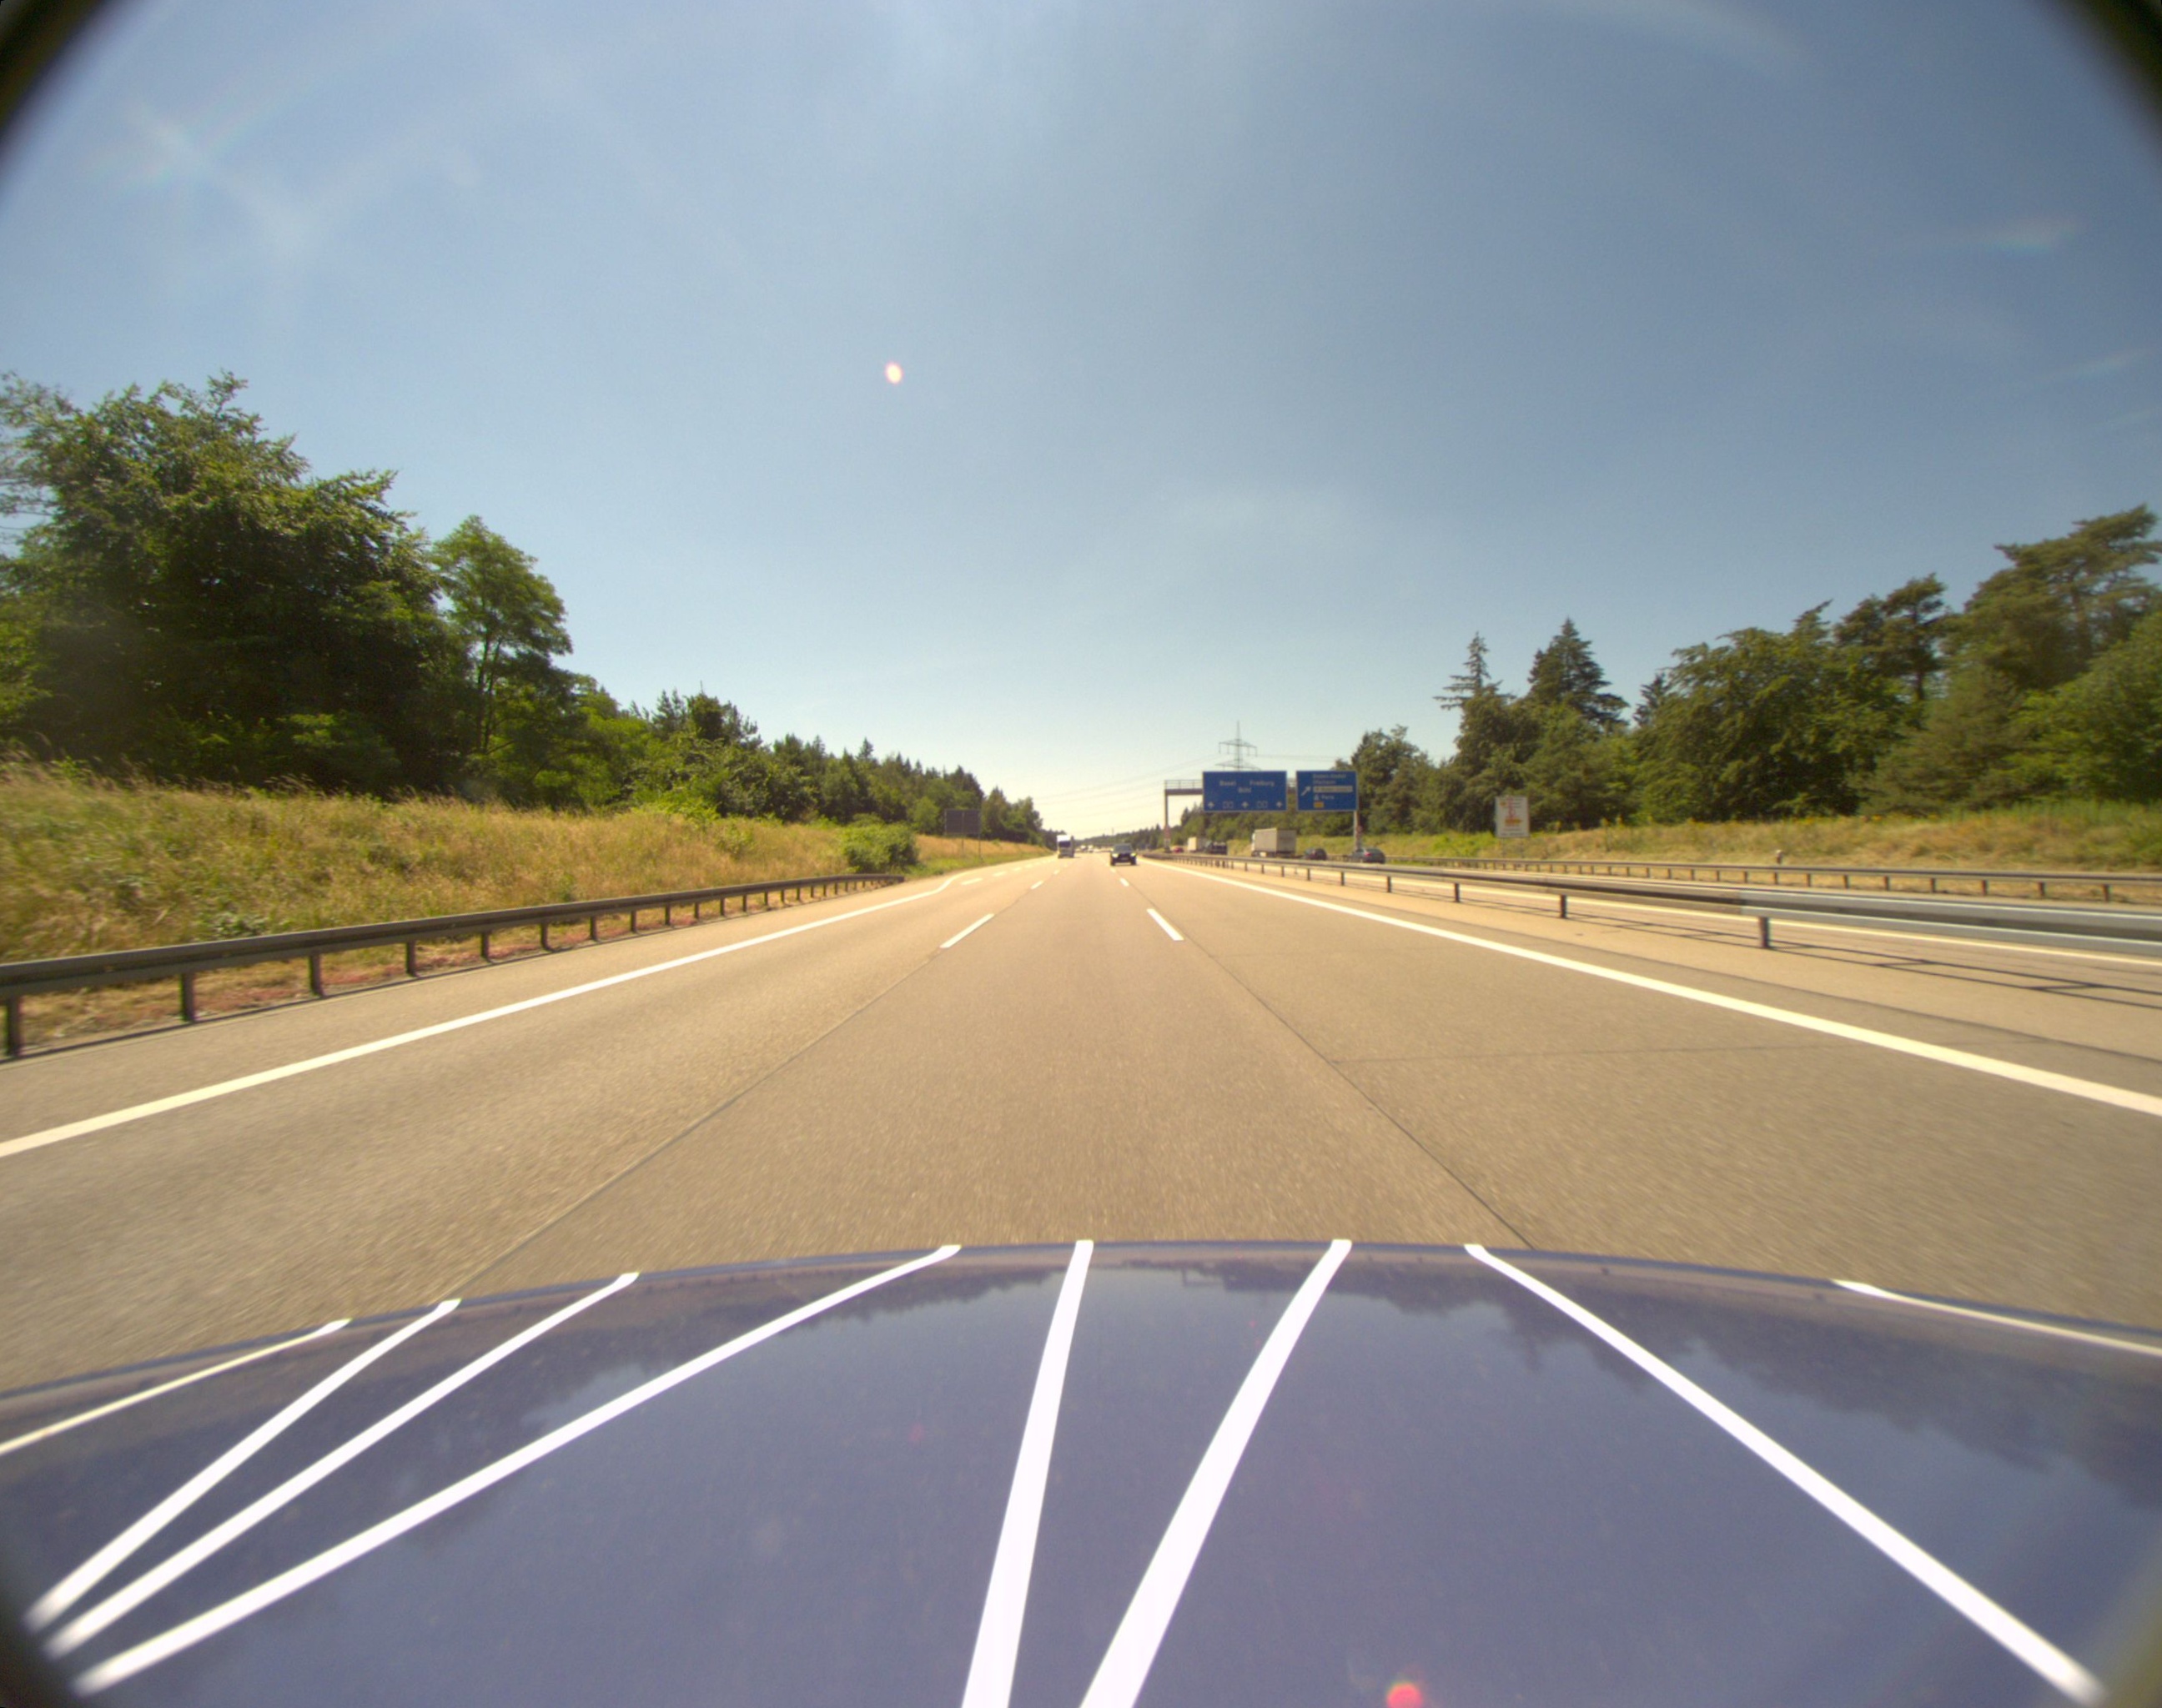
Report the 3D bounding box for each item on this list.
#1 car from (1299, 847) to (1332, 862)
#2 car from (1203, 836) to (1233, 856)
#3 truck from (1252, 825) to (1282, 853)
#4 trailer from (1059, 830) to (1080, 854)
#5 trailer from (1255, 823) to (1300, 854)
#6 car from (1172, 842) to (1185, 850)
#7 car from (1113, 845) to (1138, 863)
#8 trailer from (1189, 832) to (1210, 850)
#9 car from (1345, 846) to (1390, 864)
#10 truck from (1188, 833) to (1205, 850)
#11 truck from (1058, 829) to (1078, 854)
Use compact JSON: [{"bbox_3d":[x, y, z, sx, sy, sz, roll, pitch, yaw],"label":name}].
[{"bbox_3d":[25.345,0.038,82.318,2.091,1.455,4.942,-1,1,1],"label":"car"},{"bbox_3d":[14.323,-0.833,79.690,2.285,1.929,4.942,-1,1,1],"label":"car"},{"bbox_3d":[27.160,-2.182,111.391,3.175,3.908,5.400,-2,1,3],"label":"truck"},{"bbox_3d":[-1.963,-2.179,138.308,2.982,4.118,11.697,-1,0,3],"label":"trailer"},{"bbox_3d":[26.816,-2.084,104.587,3.175,3.908,13.963,-2,1,3],"label":"trailer"},{"bbox_3d":[19.571,-1.658,152.492,1.851,1.601,4.921,-2,1,1],"label":"car"},{"bbox_3d":[3.624,-0.023,62.523,1.898,1.417,4.262,-2,1,3],"label":"car"},{"bbox_3d":[27.746,-2.977,177.969,3.222,4.019,14.360,-2,1,3],"label":"trailer"},{"bbox_3d":[23.522,0.040,62.501,1.931,1.455,4.942,-1,1,1],"label":"car"},{"bbox_3d":[28.055,-3.067,184.568,3.222,3.995,6.215,-2,1,3],"label":"truck"},{"bbox_3d":[-2.271,-2.147,132.592,2.979,4.118,5.349,-1,0,3],"label":"truck"}]
